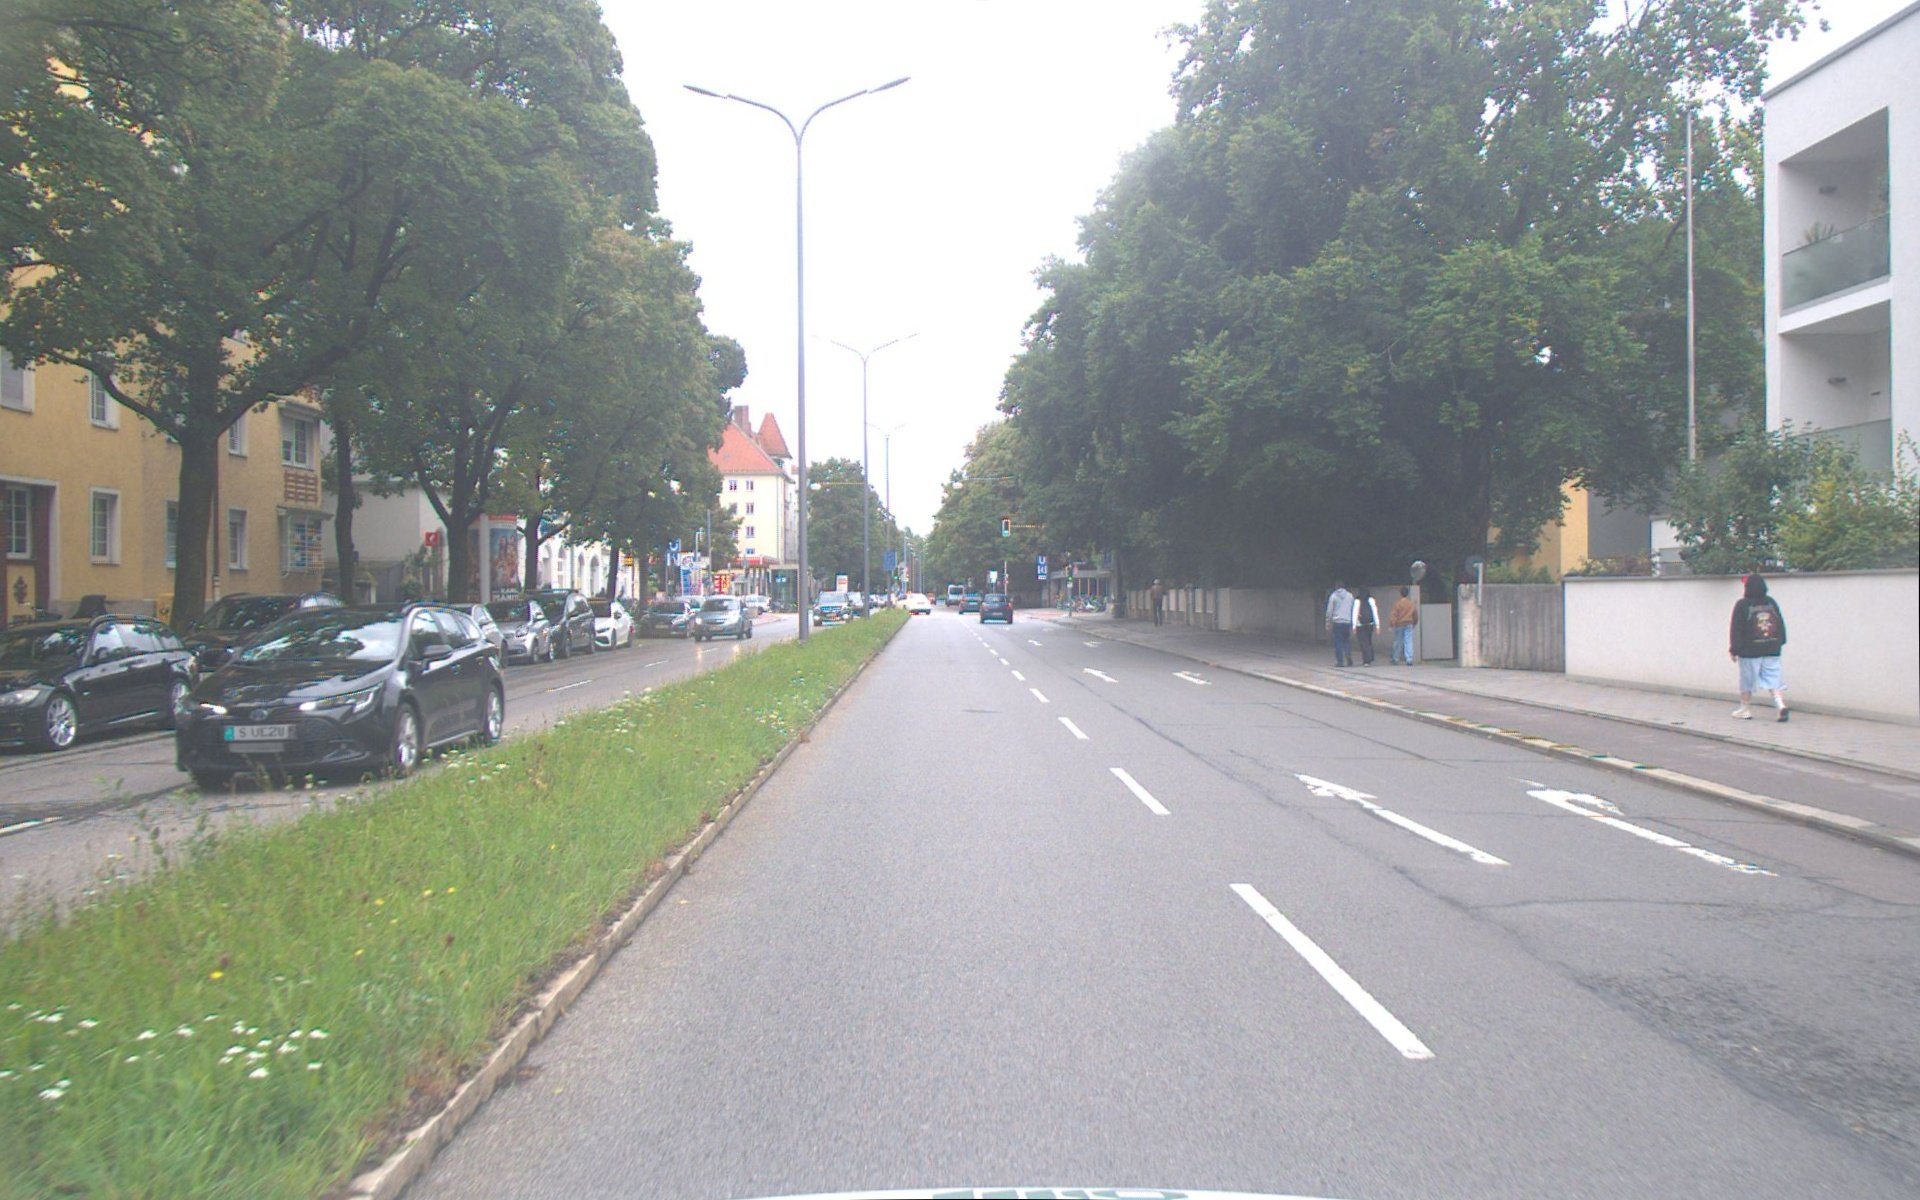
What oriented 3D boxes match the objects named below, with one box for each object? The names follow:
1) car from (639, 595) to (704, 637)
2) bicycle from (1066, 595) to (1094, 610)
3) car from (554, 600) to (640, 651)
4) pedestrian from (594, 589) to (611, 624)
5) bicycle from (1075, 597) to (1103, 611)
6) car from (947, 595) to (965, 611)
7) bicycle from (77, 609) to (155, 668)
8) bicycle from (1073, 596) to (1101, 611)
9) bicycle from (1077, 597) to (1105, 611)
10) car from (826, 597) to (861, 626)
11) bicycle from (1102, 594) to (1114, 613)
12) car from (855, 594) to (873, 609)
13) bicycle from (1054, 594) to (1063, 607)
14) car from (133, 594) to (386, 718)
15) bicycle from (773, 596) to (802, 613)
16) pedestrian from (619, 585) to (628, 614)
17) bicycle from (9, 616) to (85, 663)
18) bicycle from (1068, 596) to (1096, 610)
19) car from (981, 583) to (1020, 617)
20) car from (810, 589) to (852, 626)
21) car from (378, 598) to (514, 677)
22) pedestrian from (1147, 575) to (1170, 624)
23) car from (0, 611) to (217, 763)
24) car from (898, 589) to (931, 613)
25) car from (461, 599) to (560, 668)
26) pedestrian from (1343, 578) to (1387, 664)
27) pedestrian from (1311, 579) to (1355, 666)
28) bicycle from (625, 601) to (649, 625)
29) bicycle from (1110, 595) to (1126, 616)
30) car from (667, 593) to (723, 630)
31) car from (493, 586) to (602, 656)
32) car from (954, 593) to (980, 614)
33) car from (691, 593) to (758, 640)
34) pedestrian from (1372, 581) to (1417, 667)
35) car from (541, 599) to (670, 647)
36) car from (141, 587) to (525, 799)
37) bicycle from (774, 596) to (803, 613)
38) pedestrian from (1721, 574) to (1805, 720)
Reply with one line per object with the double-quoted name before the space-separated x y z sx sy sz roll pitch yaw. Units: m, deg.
"car" -11.102 0.590 63.942 1.774 1.533 4.644 0 0 -1
"bicycle" 9.265 0.180 127.917 2.097 1.105 0.603 0 0 7
"car" -10.933 0.738 50.125 1.691 1.427 4.403 0 0 -1
"pedestrian" -17.783 0.343 82.311 0.585 1.726 0.937 0 0 -28
"bicycle" 9.725 0.320 124.475 2.097 1.032 0.603 0 0 7
"car" -0.510 0.358 192.938 1.953 1.787 3.999 -1 0 -2
"bicycle" -18.784 0.837 36.850 0.754 1.243 1.930 0 0 -1
"bicycle" 9.668 0.246 125.815 2.097 1.089 0.603 0 0 7
"bicycle" 9.899 0.307 125.013 2.097 1.032 0.634 0 0 7
"car" -7.190 0.694 102.727 1.837 1.612 4.620 -3 0 -1
"bicycle" 9.253 0.217 103.470 0.587 1.141 1.889 0 -1 -1
"car" -10.176 0.164 174.788 1.724 1.486 3.999 0 0 -1
"bicycle" 7.952 0.012 133.439 0.545 1.032 2.014 0 0 -3
"car" -10.408 0.760 24.994 1.840 1.674 4.769 0 0 -1
"bicycle" -13.790 0.342 131.968 2.225 1.327 0.704 0 0 0
"pedestrian" -19.402 -0.030 95.341 0.415 1.660 0.779 0 0 -16
"bicycle" -19.050 0.810 34.542 0.530 0.915 1.930 0 0 -1
"bicycle" 9.384 0.216 127.180 2.097 1.032 0.603 0 0 7
"car" 2.088 -0.022 85.868 1.819 1.713 3.999 0 0 -1
"car" -6.284 0.345 80.889 1.733 1.708 4.368 -2 0 -1
"car" -10.931 0.751 35.419 1.691 1.589 4.056 0 0 -1
"pedestrian" 8.152 -0.025 67.935 0.762 1.976 0.802 -2 0 -1
"car" -10.308 0.898 18.886 1.658 1.480 4.492 0 0 -1
"car" -3.238 0.066 117.383 1.746 1.675 4.771 0 0 -9
"car" -10.821 0.767 39.962 1.692 1.585 3.008 0 0 -3
"pedestrian" 8.369 0.433 34.219 0.653 1.722 0.728 -2 0 -2
"pedestrian" 7.708 0.463 34.182 0.653 1.752 0.728 -2 0 -2
"bicycle" -15.210 0.615 77.910 0.453 1.135 1.944 0 0 -32
"bicycle" 8.435 0.303 88.309 0.609 1.109 2.025 0 0 -1
"car" -11.227 0.459 70.239 1.774 1.533 3.959 0 0 -1
"car" -10.946 0.523 44.240 1.773 1.758 4.766 0 0 -1
"car" 0.480 0.235 120.210 1.743 1.499 3.892 1 0 -1
"car" -8.248 0.543 58.123 1.774 1.533 4.056 -2 0 -1
"pedestrian" 9.019 0.494 34.362 0.653 1.735 0.766 -2 0 -2
"car" -11.477 0.719 53.703 3.811 1.489 1.731 0 0 -3
"car" -5.361 0.700 14.807 1.774 1.533 4.322 -3 0 -1
"bicycle" -13.779 0.329 132.715 2.238 1.327 0.694 0 0 0
"pedestrian" 9.136 0.524 18.836 0.517 1.609 0.728 -2 0 -2
